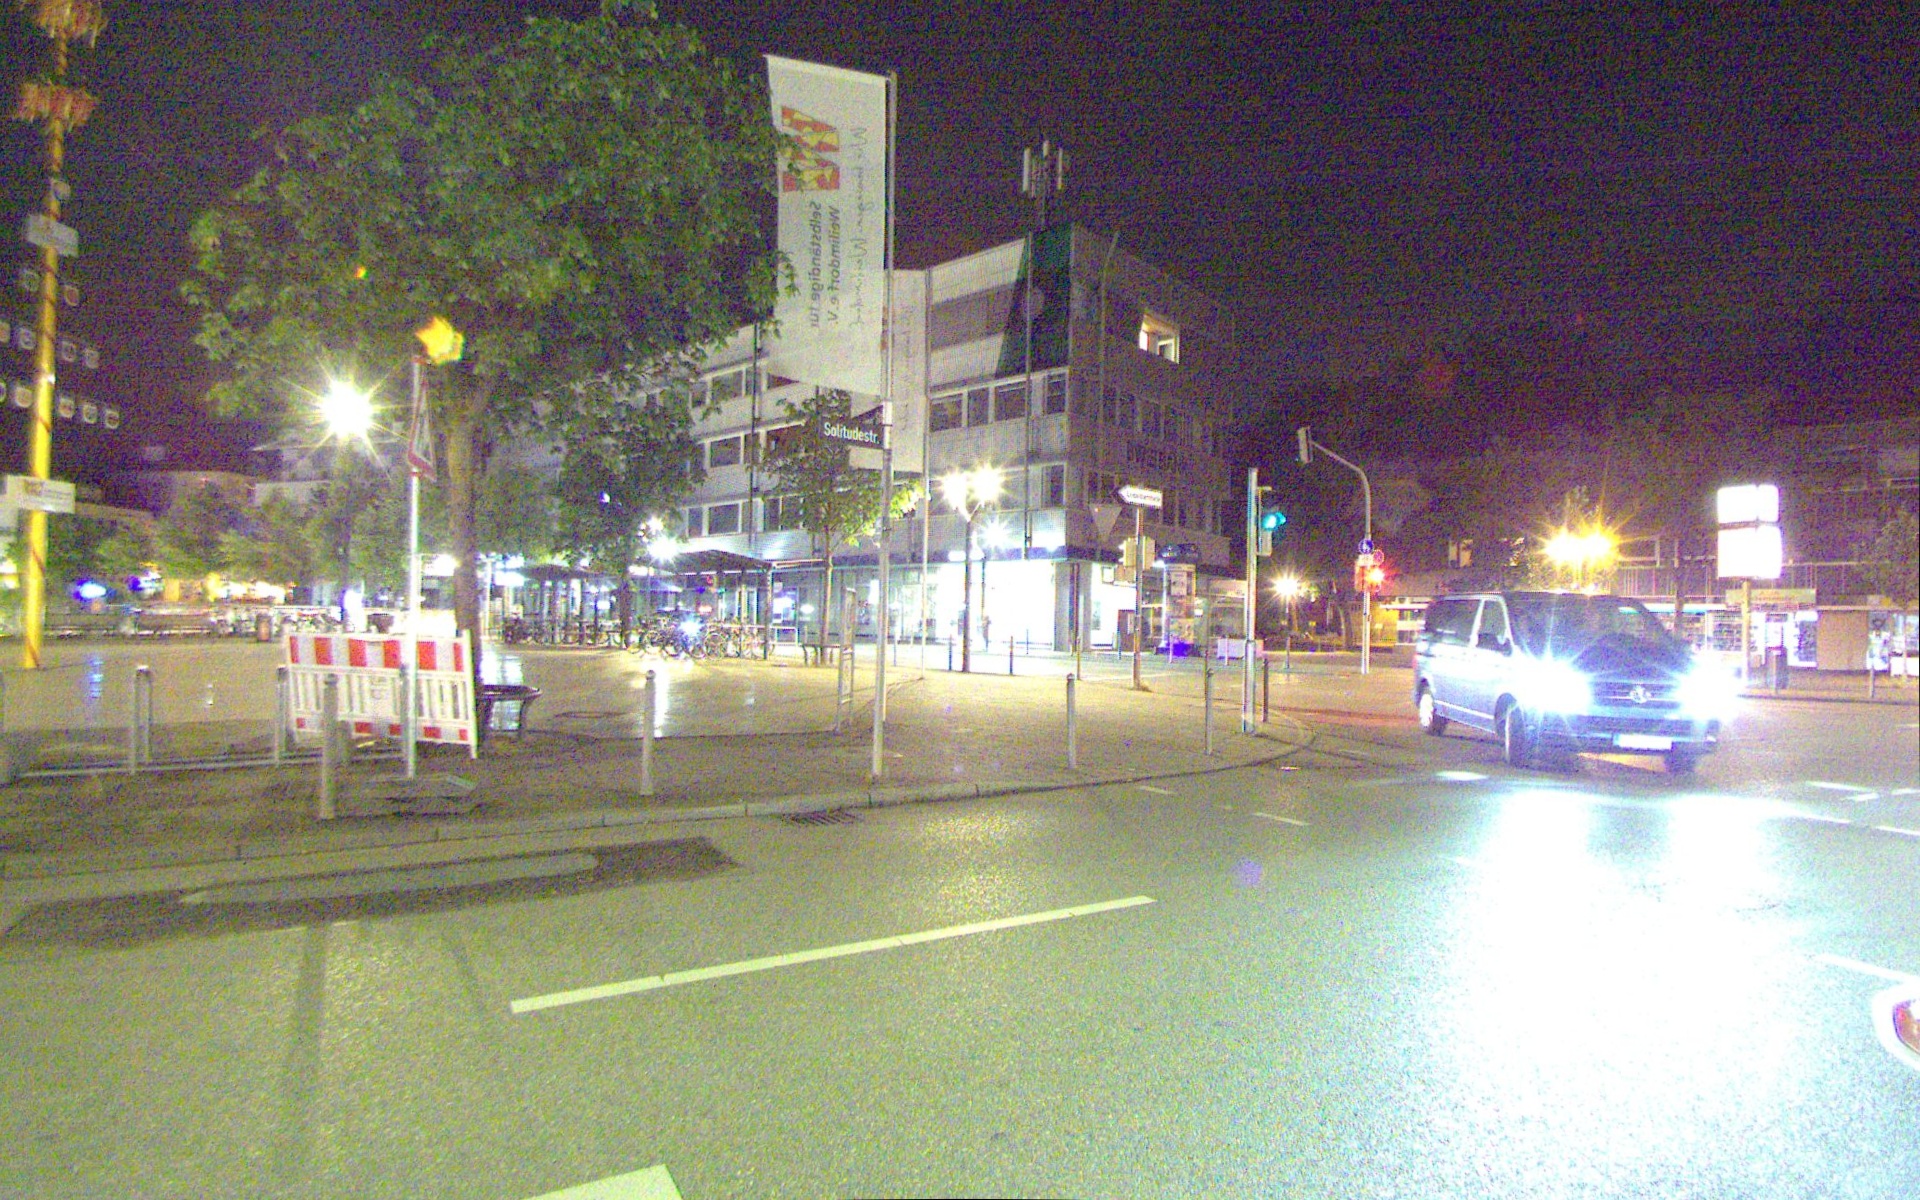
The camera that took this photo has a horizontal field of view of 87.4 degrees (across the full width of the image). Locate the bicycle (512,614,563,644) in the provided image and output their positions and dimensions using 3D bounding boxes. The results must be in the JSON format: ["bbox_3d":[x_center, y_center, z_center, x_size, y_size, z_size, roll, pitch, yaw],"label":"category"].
[{"bbox_3d":[-14.181,0.988,33.738,0.473,0.970,1.525,2,0,44],"label":"bicycle"}]

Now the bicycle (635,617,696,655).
[{"bbox_3d":[-7.847,0.959,26.823,0.473,0.970,1.525,2,0,44],"label":"bicycle"}]

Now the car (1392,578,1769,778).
[{"bbox_3d":[7.049,0.807,12.179,1.933,1.896,4.915,1,-1,6],"label":"car"}]

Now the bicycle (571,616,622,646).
[{"bbox_3d":[-11.975,1.029,33.114,0.473,0.970,1.525,2,0,44],"label":"bicycle"}]

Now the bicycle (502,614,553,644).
[{"bbox_3d":[-14.783,0.997,34.364,0.473,0.970,1.525,2,0,44],"label":"bicycle"}]

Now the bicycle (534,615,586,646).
[{"bbox_3d":[-13.156,1.001,33.061,0.473,0.970,1.525,2,0,44],"label":"bicycle"}]

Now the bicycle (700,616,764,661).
[{"bbox_3d":[-5.647,0.948,24.925,0.440,1.068,1.525,2,0,43],"label":"bicycle"}]

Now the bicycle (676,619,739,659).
[{"bbox_3d":[-6.393,0.980,25.503,0.440,0.970,1.525,2,0,43],"label":"bicycle"}]

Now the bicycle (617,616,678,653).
[{"bbox_3d":[-8.527,0.942,27.423,0.473,0.970,1.525,2,0,44],"label":"bicycle"}]

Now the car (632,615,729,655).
[{"bbox_3d":[-11.872,1.445,42.552,4.251,1.473,1.871,2,0,40],"label":"car"}]

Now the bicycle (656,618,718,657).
[{"bbox_3d":[-7.094,0.979,26.133,0.473,0.970,1.525,2,0,44],"label":"bicycle"}]

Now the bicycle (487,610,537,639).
[{"bbox_3d":[-15.547,0.851,34.883,0.473,0.970,1.525,2,0,44],"label":"bicycle"}]
